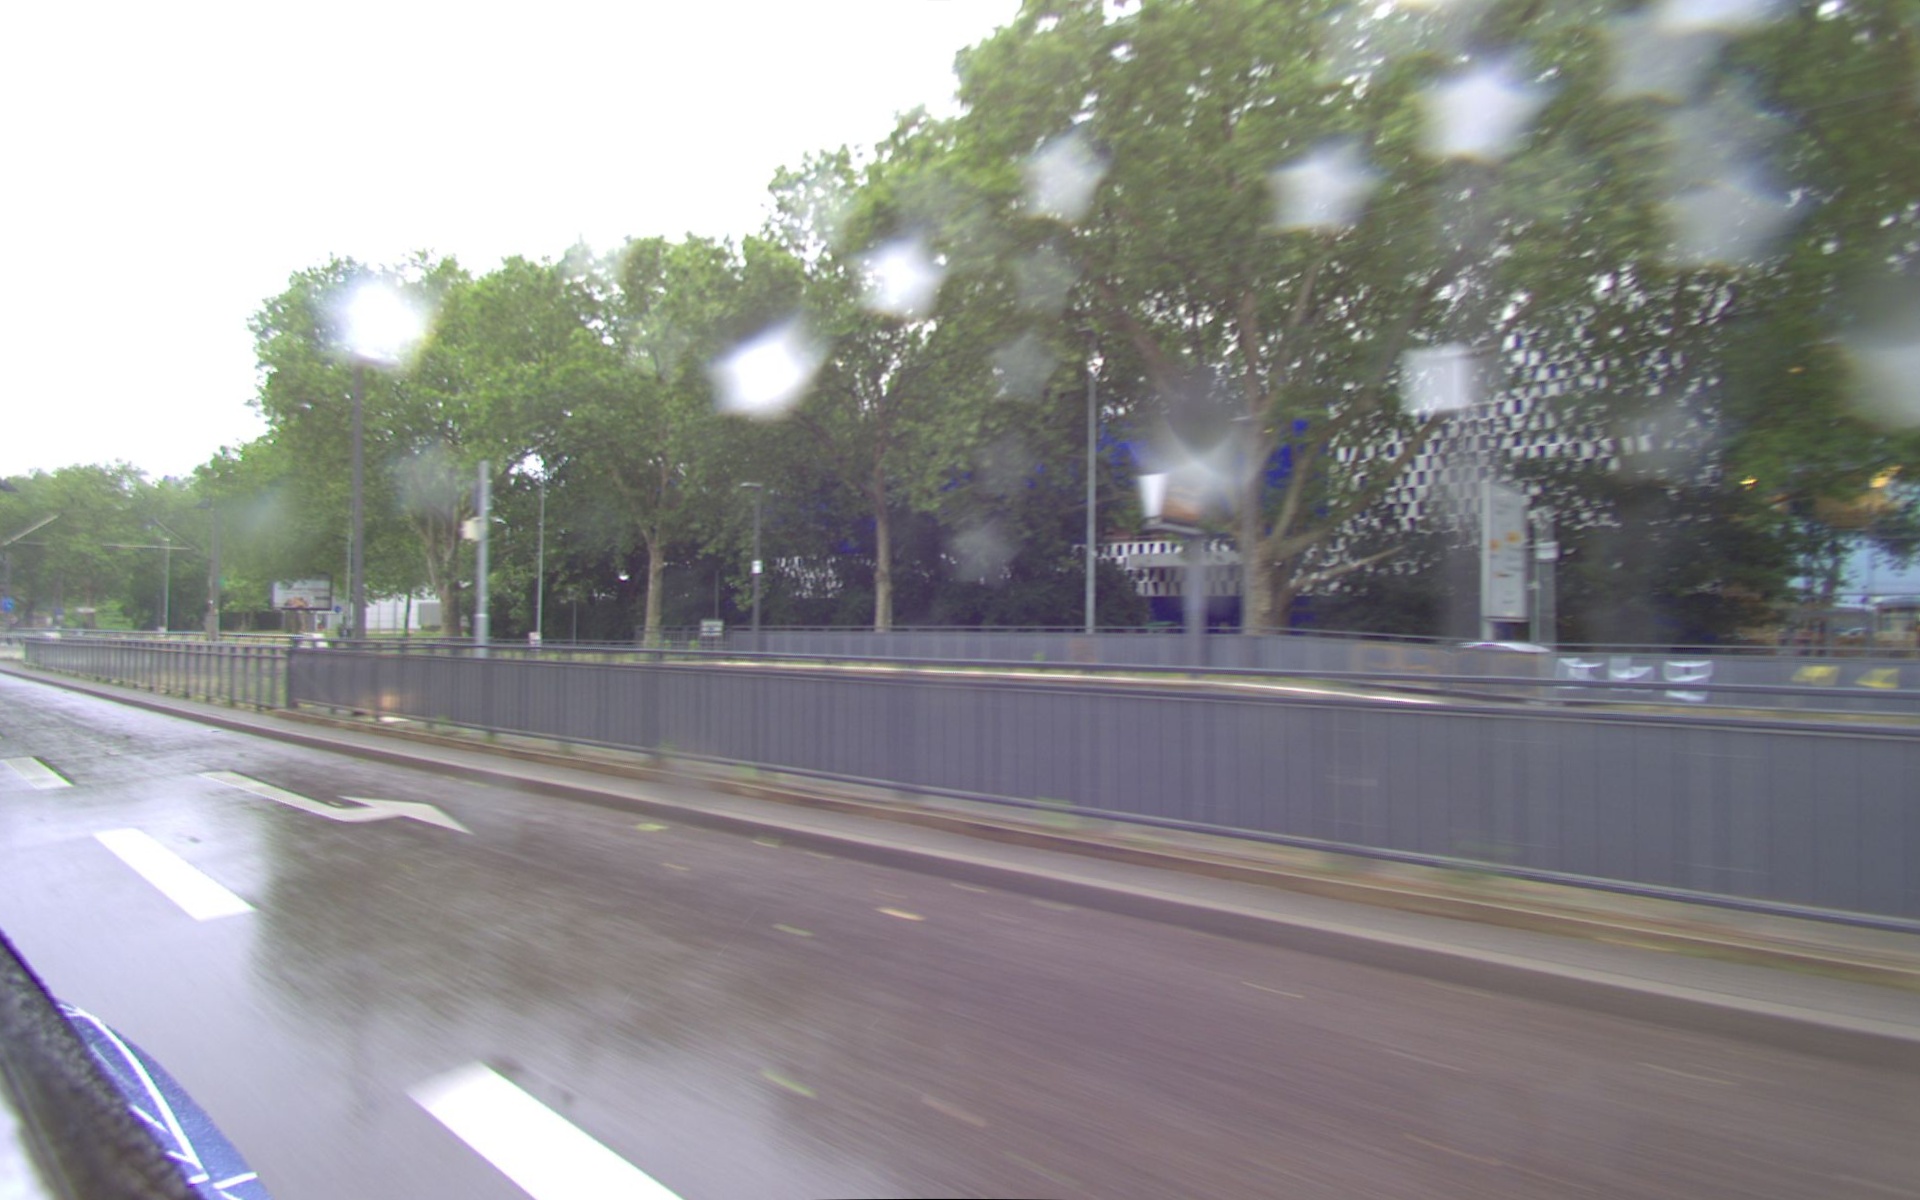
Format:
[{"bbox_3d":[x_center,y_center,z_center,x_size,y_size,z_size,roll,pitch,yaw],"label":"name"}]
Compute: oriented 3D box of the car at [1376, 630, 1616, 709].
[{"bbox_3d":[10.678,1.309,20.271,3.995,1.394,1.931,-1,-1,38],"label":"car"}]
